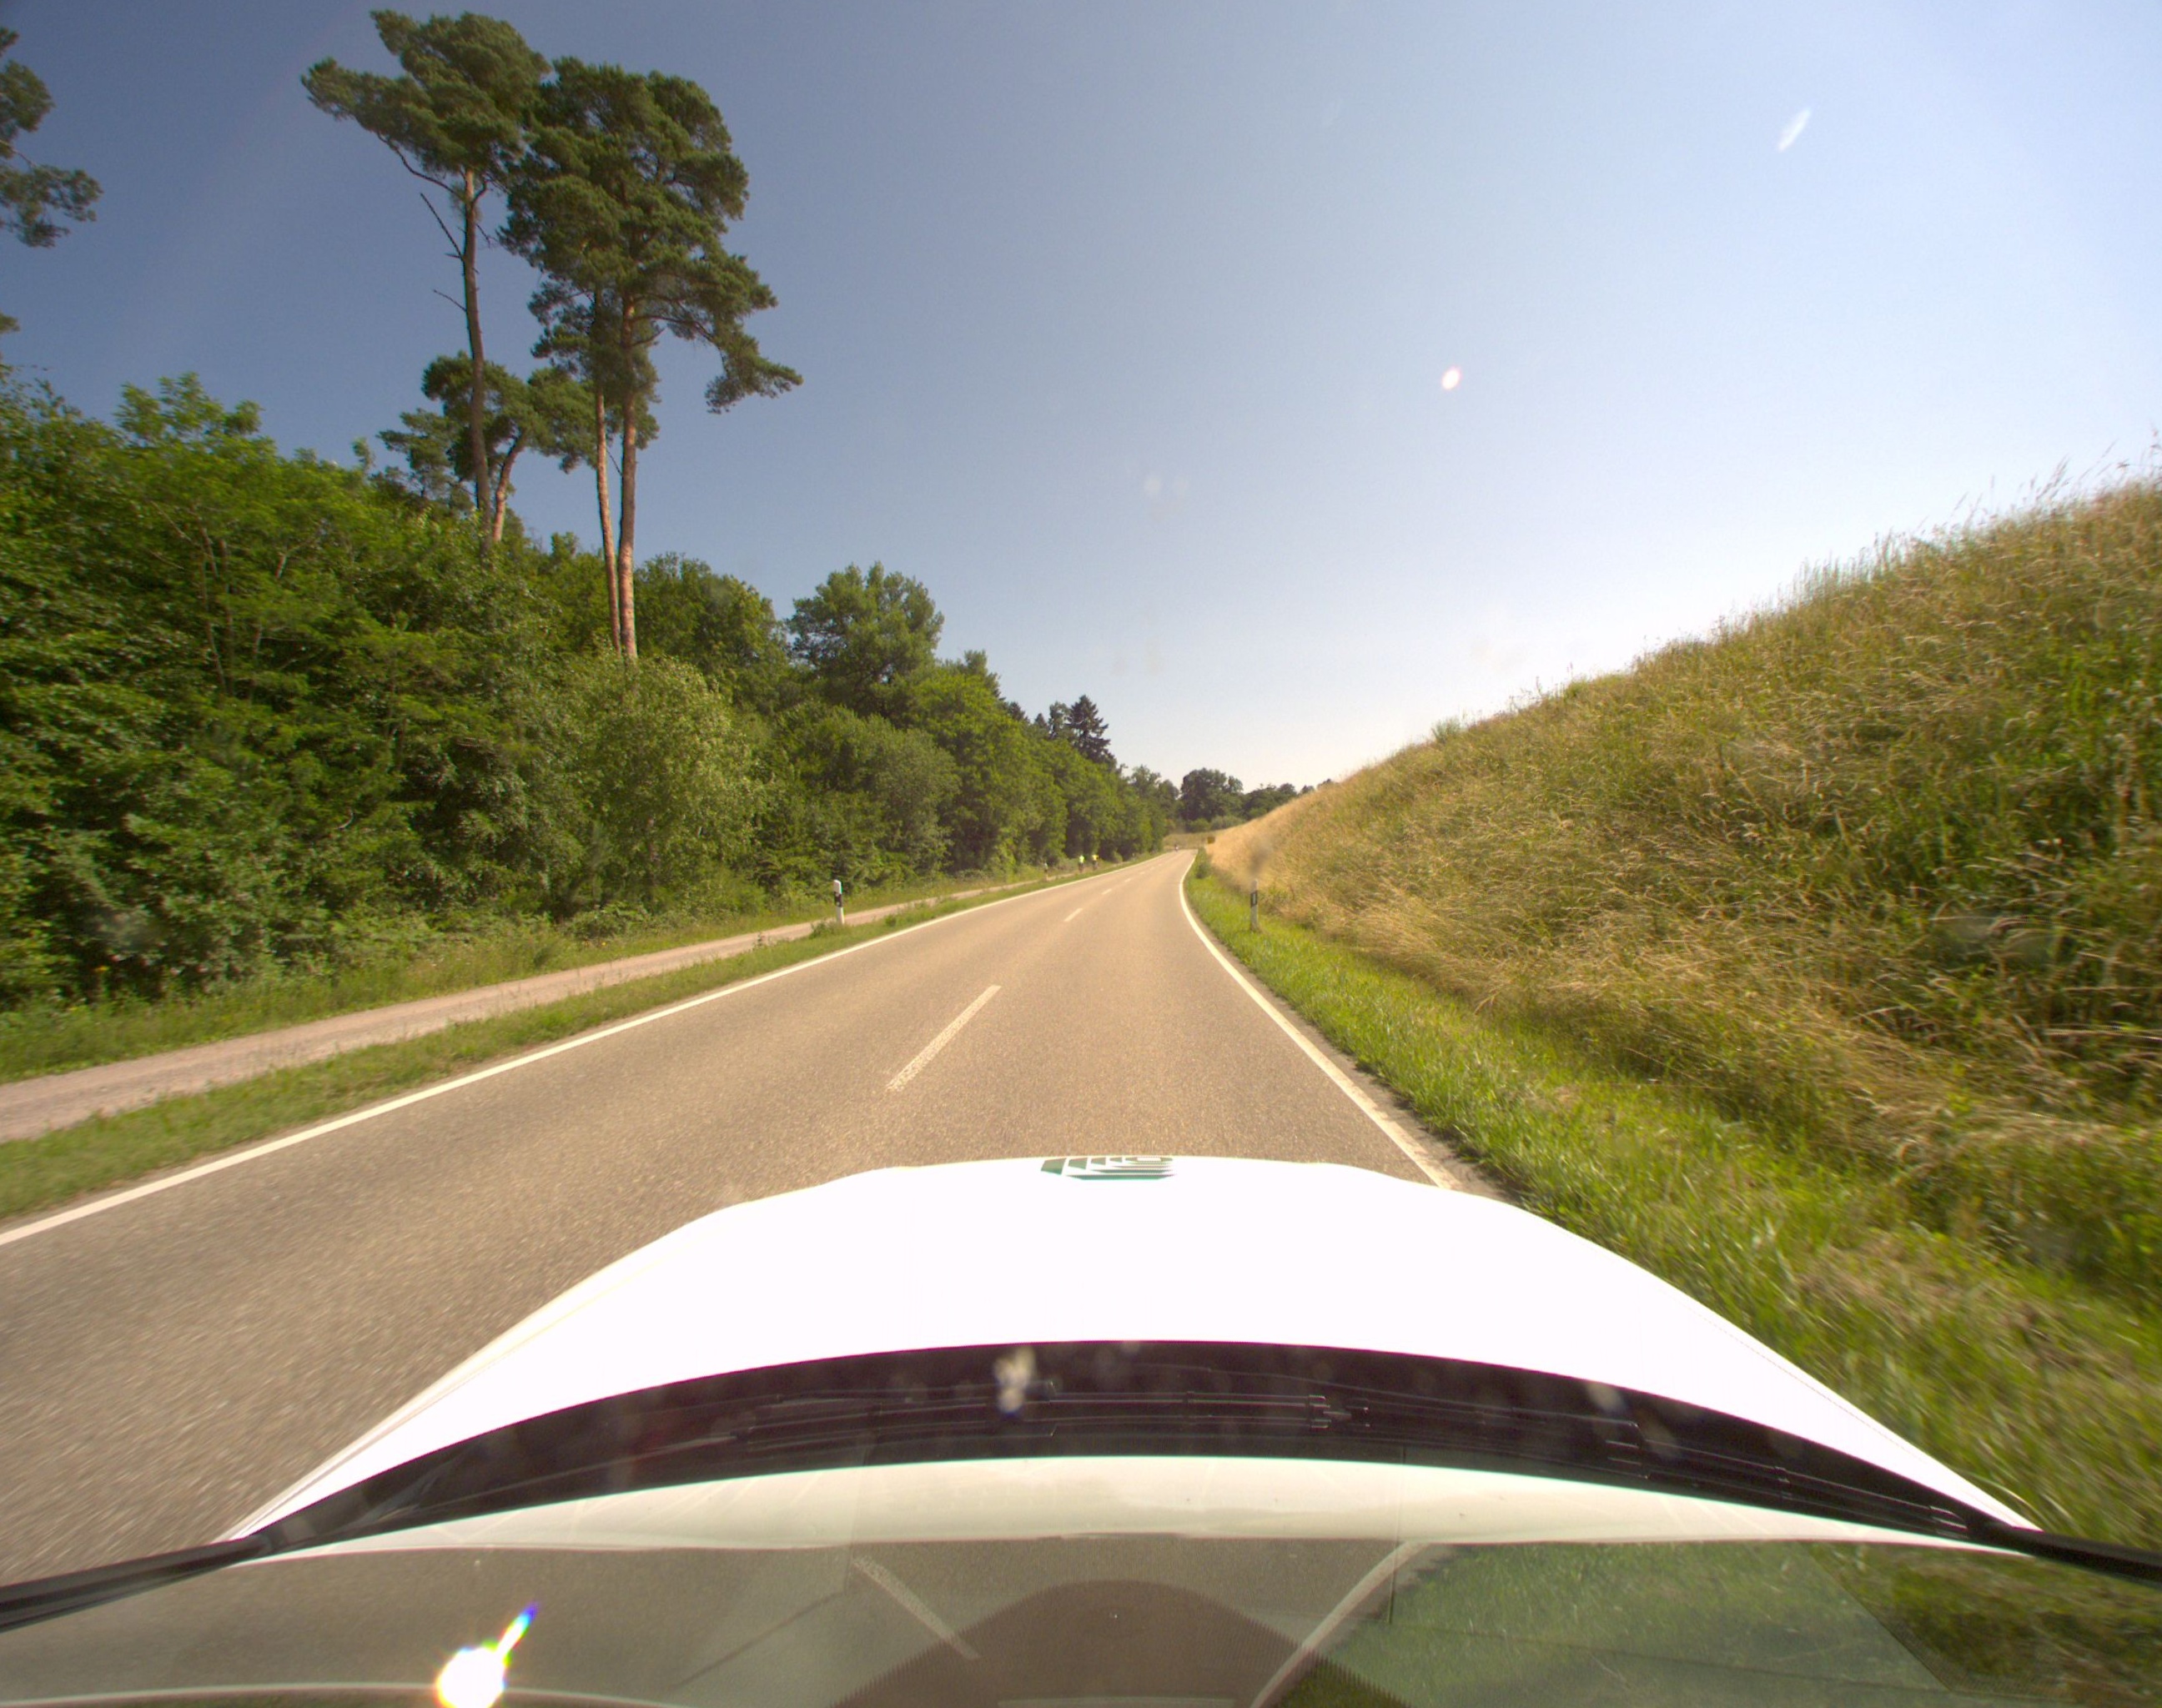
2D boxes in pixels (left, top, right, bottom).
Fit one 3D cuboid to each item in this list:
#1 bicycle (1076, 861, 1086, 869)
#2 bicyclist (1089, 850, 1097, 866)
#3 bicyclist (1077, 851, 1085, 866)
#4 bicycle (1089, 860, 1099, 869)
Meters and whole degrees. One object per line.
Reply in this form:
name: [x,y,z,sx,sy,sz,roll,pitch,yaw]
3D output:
bicycle: [-0.002,1.060,76.339,0.615,0.681,2.142,-3,0,8]
bicyclist: [1.157,0.350,76.088,0.601,1.415,0.704,-3,0,8]
bicyclist: [-0.002,0.431,76.415,0.601,1.415,0.704,-1,-2,8]
bicycle: [1.221,1.001,76.062,0.636,0.788,2.142,-3,0,8]
